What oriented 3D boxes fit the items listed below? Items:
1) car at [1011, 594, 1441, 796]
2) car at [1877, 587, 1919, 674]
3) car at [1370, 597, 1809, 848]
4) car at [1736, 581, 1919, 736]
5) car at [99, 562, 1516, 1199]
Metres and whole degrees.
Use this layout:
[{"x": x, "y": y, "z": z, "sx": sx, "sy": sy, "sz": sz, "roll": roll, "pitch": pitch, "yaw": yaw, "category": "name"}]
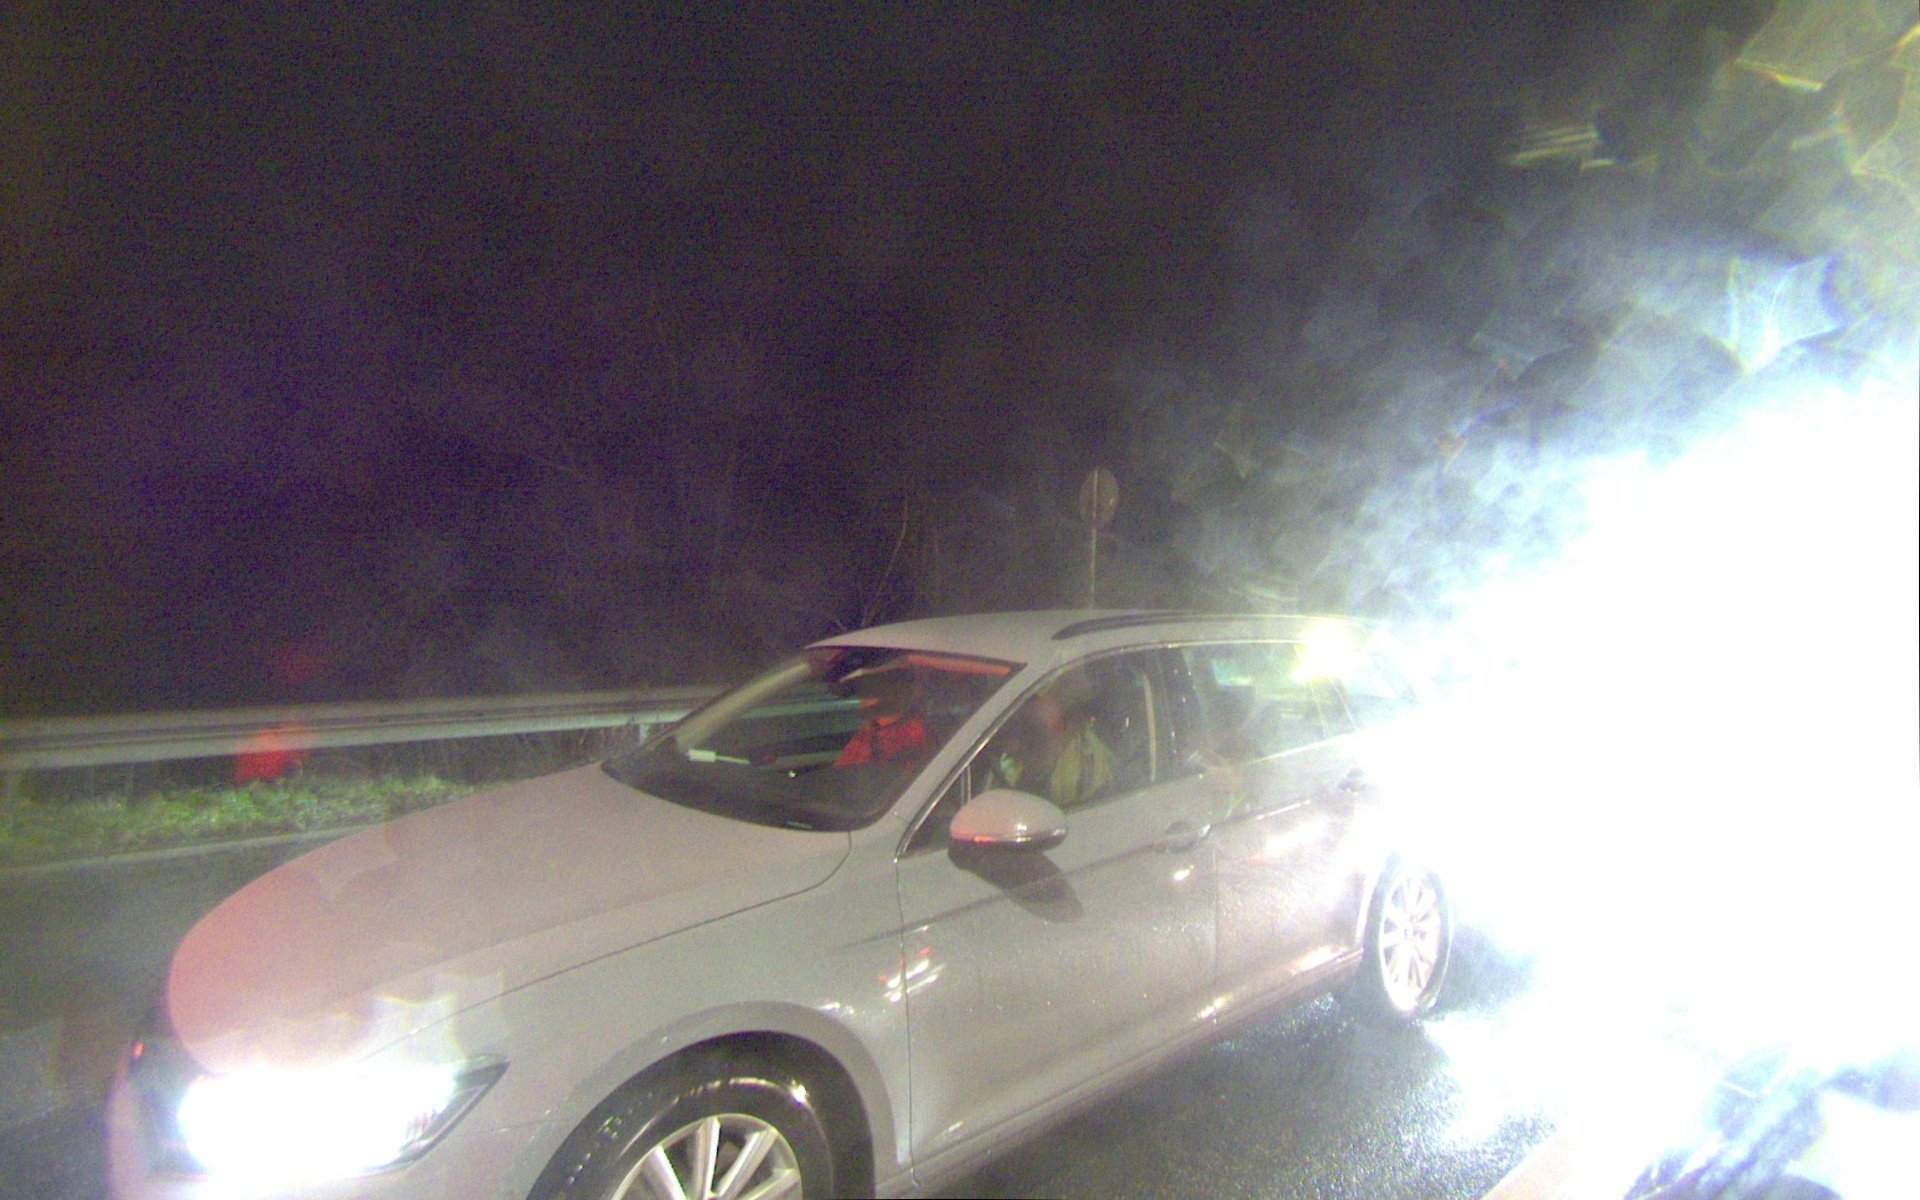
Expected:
[{"x": 2.720, "y": 0.738, "z": 9.818, "sx": 4.263, "sy": 1.500, "sz": 1.996, "roll": -1, "pitch": -1, "yaw": -42, "category": "car"}, {"x": 19.806, "y": 0.564, "z": 19.979, "sx": 4.315, "sy": 1.618, "sz": 1.997, "roll": -1, "pitch": 2, "yaw": -41, "category": "car"}, {"x": 5.066, "y": 0.716, "z": 7.927, "sx": 4.066, "sy": 1.435, "sz": 1.742, "roll": -1, "pitch": 0, "yaw": -40, "category": "car"}, {"x": 11.411, "y": 0.598, "z": 12.549, "sx": 4.315, "sy": 1.618, "sz": 1.997, "roll": -1, "pitch": 2, "yaw": -41, "category": "car"}, {"x": 0.036, "y": 0.696, "z": 3.331, "sx": 4.336, "sy": 1.541, "sz": 1.710, "roll": -1, "pitch": 0, "yaw": -40, "category": "car"}]
